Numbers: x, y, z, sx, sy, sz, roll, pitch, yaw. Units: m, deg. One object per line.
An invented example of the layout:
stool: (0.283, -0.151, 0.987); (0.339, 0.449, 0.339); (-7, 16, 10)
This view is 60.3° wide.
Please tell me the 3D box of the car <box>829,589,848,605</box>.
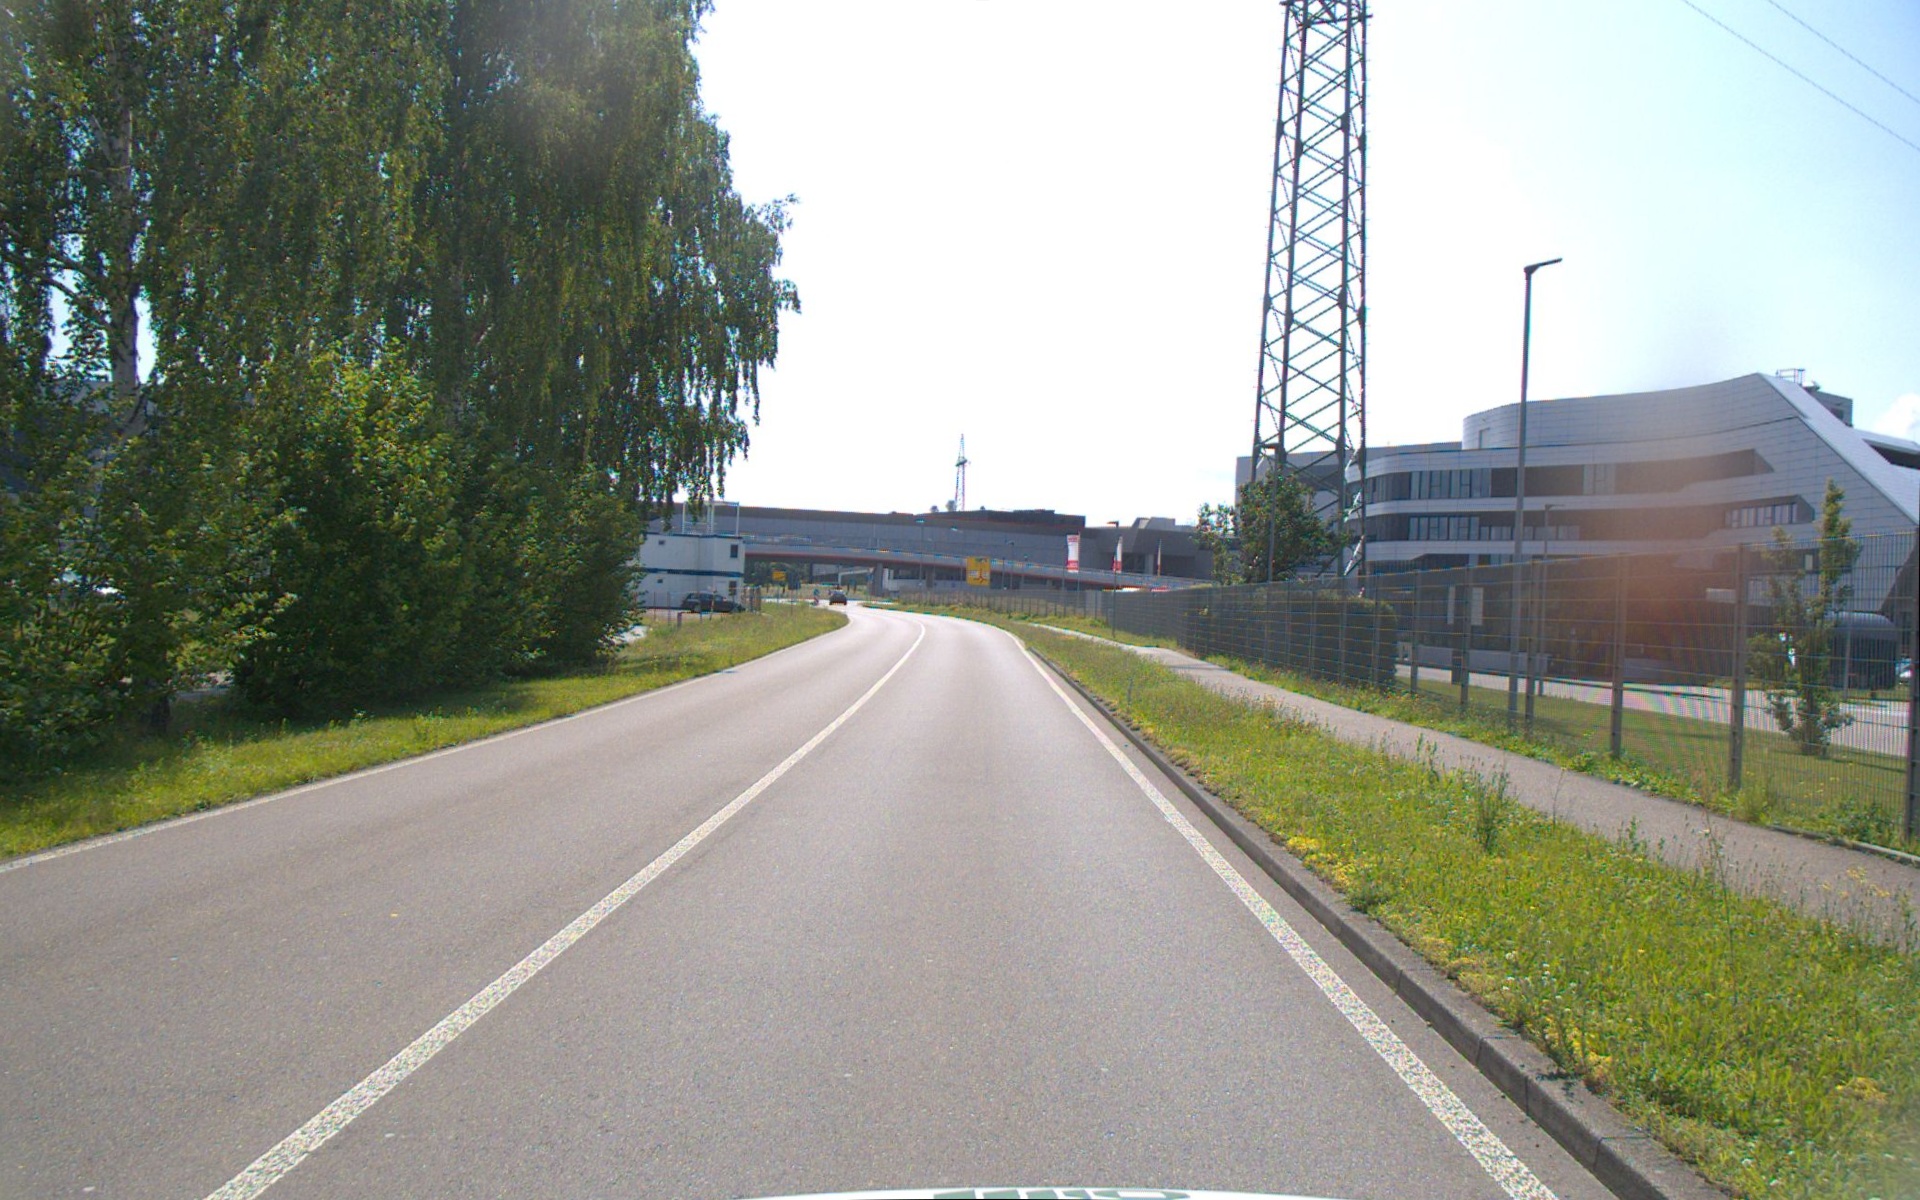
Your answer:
car: (-12.500, -0.291, 170.493); (1.954, 1.571, 3.997); (1, 0, -4)

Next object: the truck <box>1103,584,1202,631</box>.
truck: (18.131, 0.748, 155.003); (10.881, 4.245, 2.779); (1, -1, -43)

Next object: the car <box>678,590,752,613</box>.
car: (-17.550, 0.108, 118.422); (4.894, 1.441, 1.989); (2, 1, -20)

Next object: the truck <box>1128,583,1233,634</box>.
truck: (19.558, 0.777, 145.975); (10.884, 4.331, 2.981); (1, -1, -43)

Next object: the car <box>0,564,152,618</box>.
car: (-25.344, -0.254, 46.984); (3.904, 1.366, 1.748); (2, 0, 2)

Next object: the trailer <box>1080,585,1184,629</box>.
trailer: (18.628, 0.753, 177.605); (13.951, 4.515, 2.722); (1, -1, -44)
